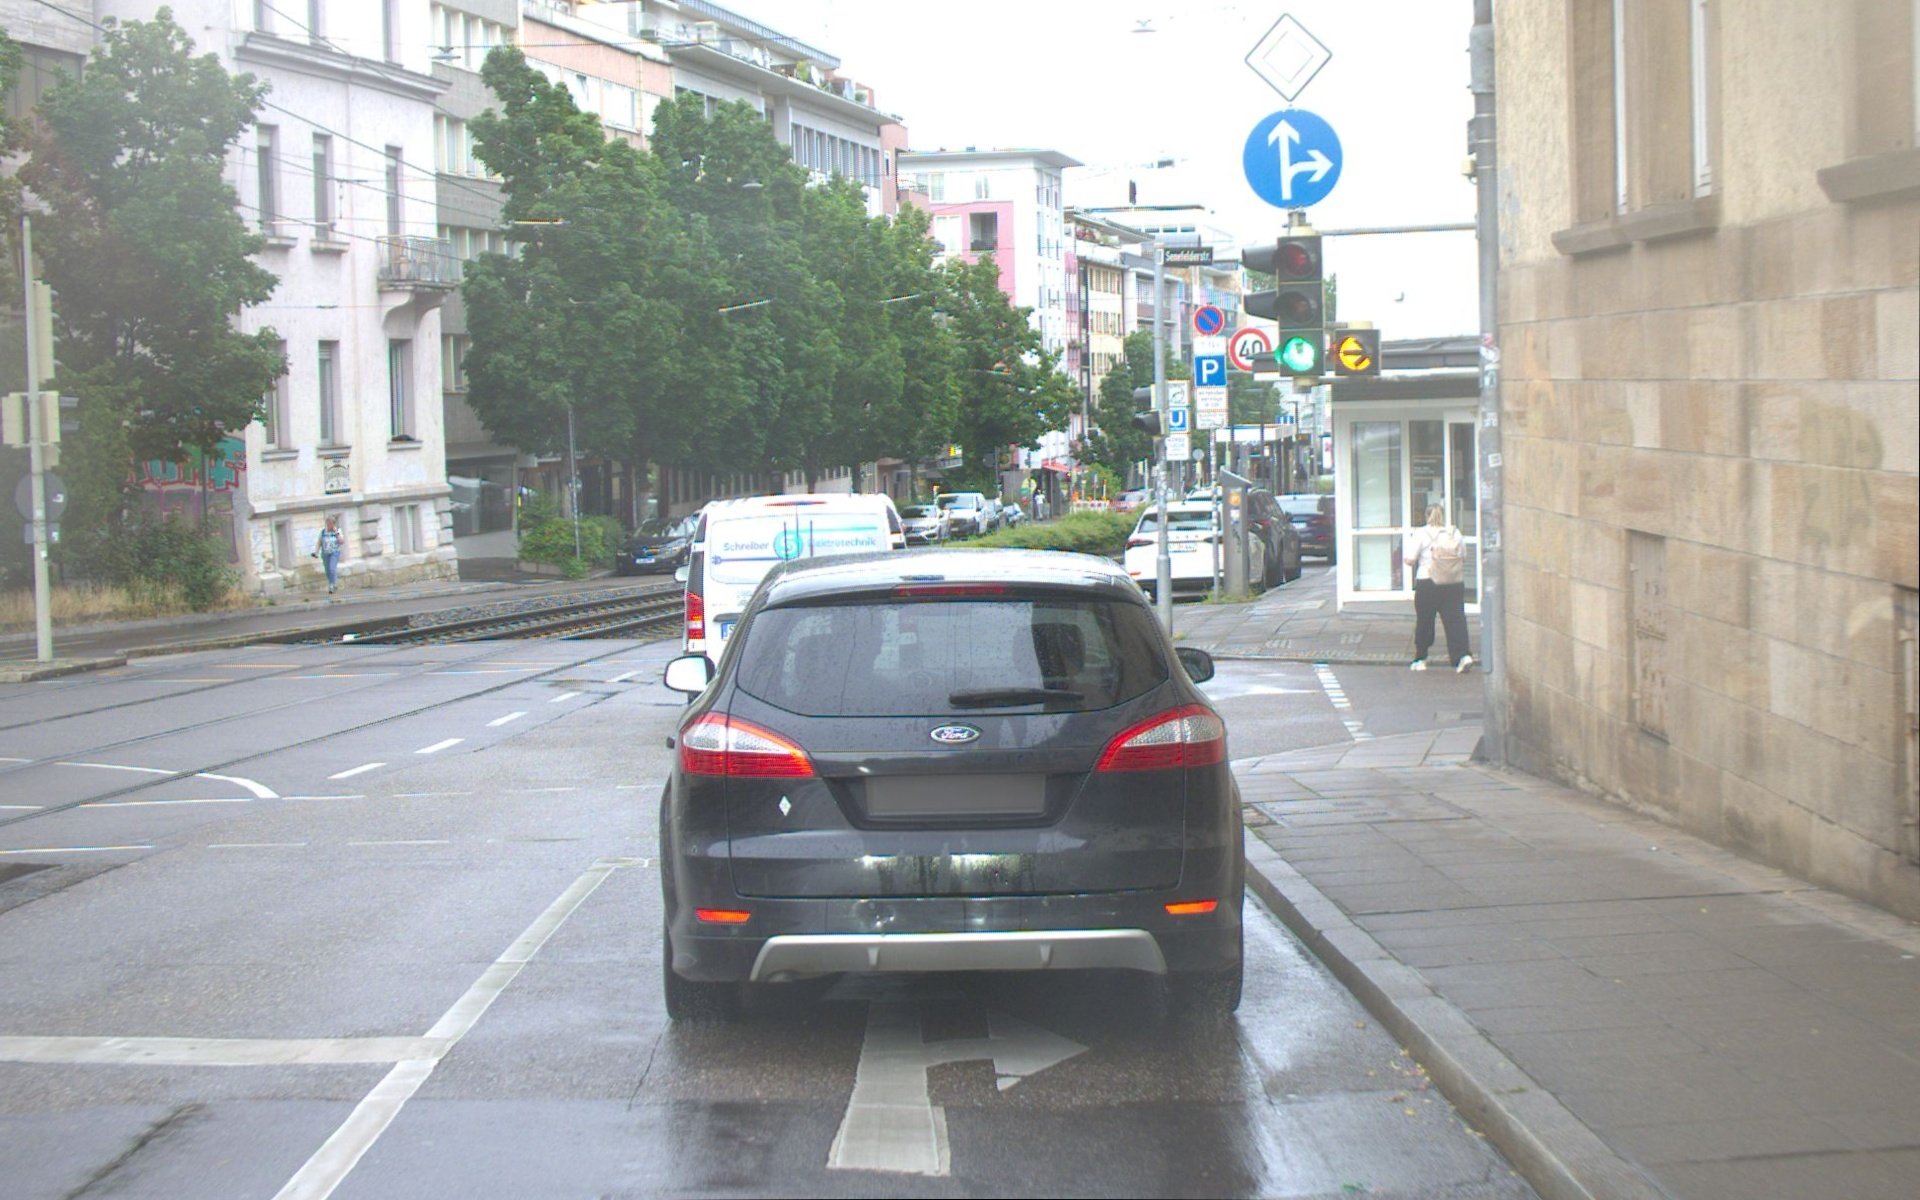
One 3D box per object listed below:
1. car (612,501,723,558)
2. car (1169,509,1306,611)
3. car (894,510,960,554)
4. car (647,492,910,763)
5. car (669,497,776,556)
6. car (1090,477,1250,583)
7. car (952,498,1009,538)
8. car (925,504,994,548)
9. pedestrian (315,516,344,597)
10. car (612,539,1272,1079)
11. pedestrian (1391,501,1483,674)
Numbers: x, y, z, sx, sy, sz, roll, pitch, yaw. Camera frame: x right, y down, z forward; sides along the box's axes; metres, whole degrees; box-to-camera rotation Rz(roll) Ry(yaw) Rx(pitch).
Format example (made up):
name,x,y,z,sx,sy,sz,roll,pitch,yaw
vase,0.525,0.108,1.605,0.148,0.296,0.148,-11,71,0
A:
name,x,y,z,sx,sy,sz,roll,pitch,yaw
car,-7.505,-1.805,88.562,1.694,1.373,4.719,0,0,10
car,4.700,-0.668,57.754,1.846,1.627,4.584,-1,1,10
car,-1.169,-2.451,124.732,1.668,1.553,4.044,0,1,10
car,-1.444,0.194,28.707,1.988,2.053,4.645,1,0,-1
car,-6.527,-2.007,94.886,1.856,1.543,4.719,0,1,10
car,3.162,-1.018,50.944,1.802,1.450,4.584,-2,0,10
car,0.854,-3.340,140.657,1.695,1.568,4.044,0,1,10
car,0.001,-2.868,133.907,1.856,1.631,4.933,0,1,10
pedestrian,-12.878,-0.885,70.205,0.467,1.646,0.582,1,0,-2
car,-0.068,0.574,11.706,1.842,1.502,4.000,1,0,-1
pedestrian,4.427,-0.120,31.953,0.688,1.566,0.763,-2,0,-1
